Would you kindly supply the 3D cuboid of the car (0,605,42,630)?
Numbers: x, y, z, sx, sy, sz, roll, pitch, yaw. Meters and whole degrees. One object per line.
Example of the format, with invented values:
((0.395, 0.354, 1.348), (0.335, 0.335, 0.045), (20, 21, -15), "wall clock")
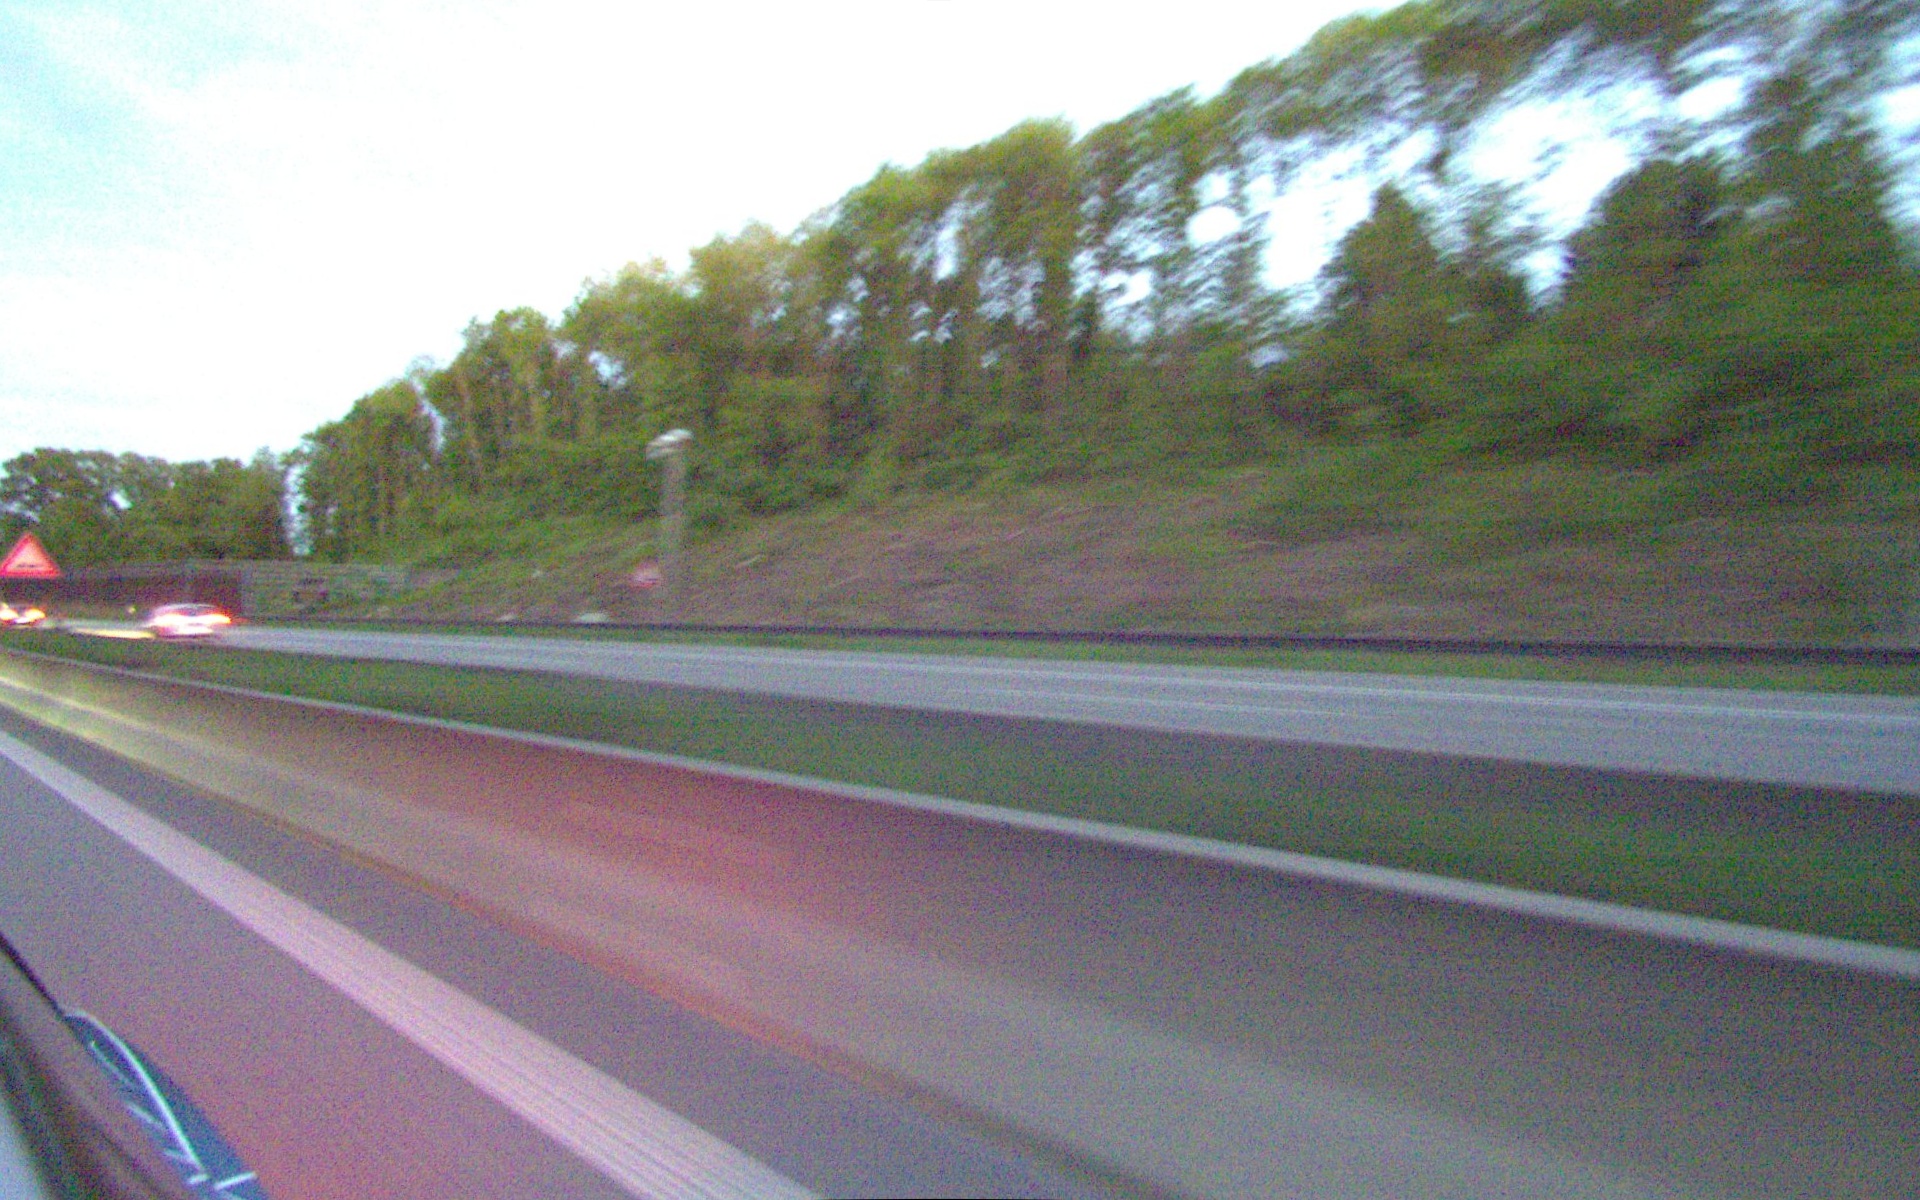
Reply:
((-58.911, 1.074, 63.174), (4.367, 1.490, 1.801), (-1, 0, 40), "car")

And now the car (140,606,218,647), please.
((-30.605, 1.006, 39.607), (4.228, 1.500, 1.581), (-1, 0, 41), "car")
